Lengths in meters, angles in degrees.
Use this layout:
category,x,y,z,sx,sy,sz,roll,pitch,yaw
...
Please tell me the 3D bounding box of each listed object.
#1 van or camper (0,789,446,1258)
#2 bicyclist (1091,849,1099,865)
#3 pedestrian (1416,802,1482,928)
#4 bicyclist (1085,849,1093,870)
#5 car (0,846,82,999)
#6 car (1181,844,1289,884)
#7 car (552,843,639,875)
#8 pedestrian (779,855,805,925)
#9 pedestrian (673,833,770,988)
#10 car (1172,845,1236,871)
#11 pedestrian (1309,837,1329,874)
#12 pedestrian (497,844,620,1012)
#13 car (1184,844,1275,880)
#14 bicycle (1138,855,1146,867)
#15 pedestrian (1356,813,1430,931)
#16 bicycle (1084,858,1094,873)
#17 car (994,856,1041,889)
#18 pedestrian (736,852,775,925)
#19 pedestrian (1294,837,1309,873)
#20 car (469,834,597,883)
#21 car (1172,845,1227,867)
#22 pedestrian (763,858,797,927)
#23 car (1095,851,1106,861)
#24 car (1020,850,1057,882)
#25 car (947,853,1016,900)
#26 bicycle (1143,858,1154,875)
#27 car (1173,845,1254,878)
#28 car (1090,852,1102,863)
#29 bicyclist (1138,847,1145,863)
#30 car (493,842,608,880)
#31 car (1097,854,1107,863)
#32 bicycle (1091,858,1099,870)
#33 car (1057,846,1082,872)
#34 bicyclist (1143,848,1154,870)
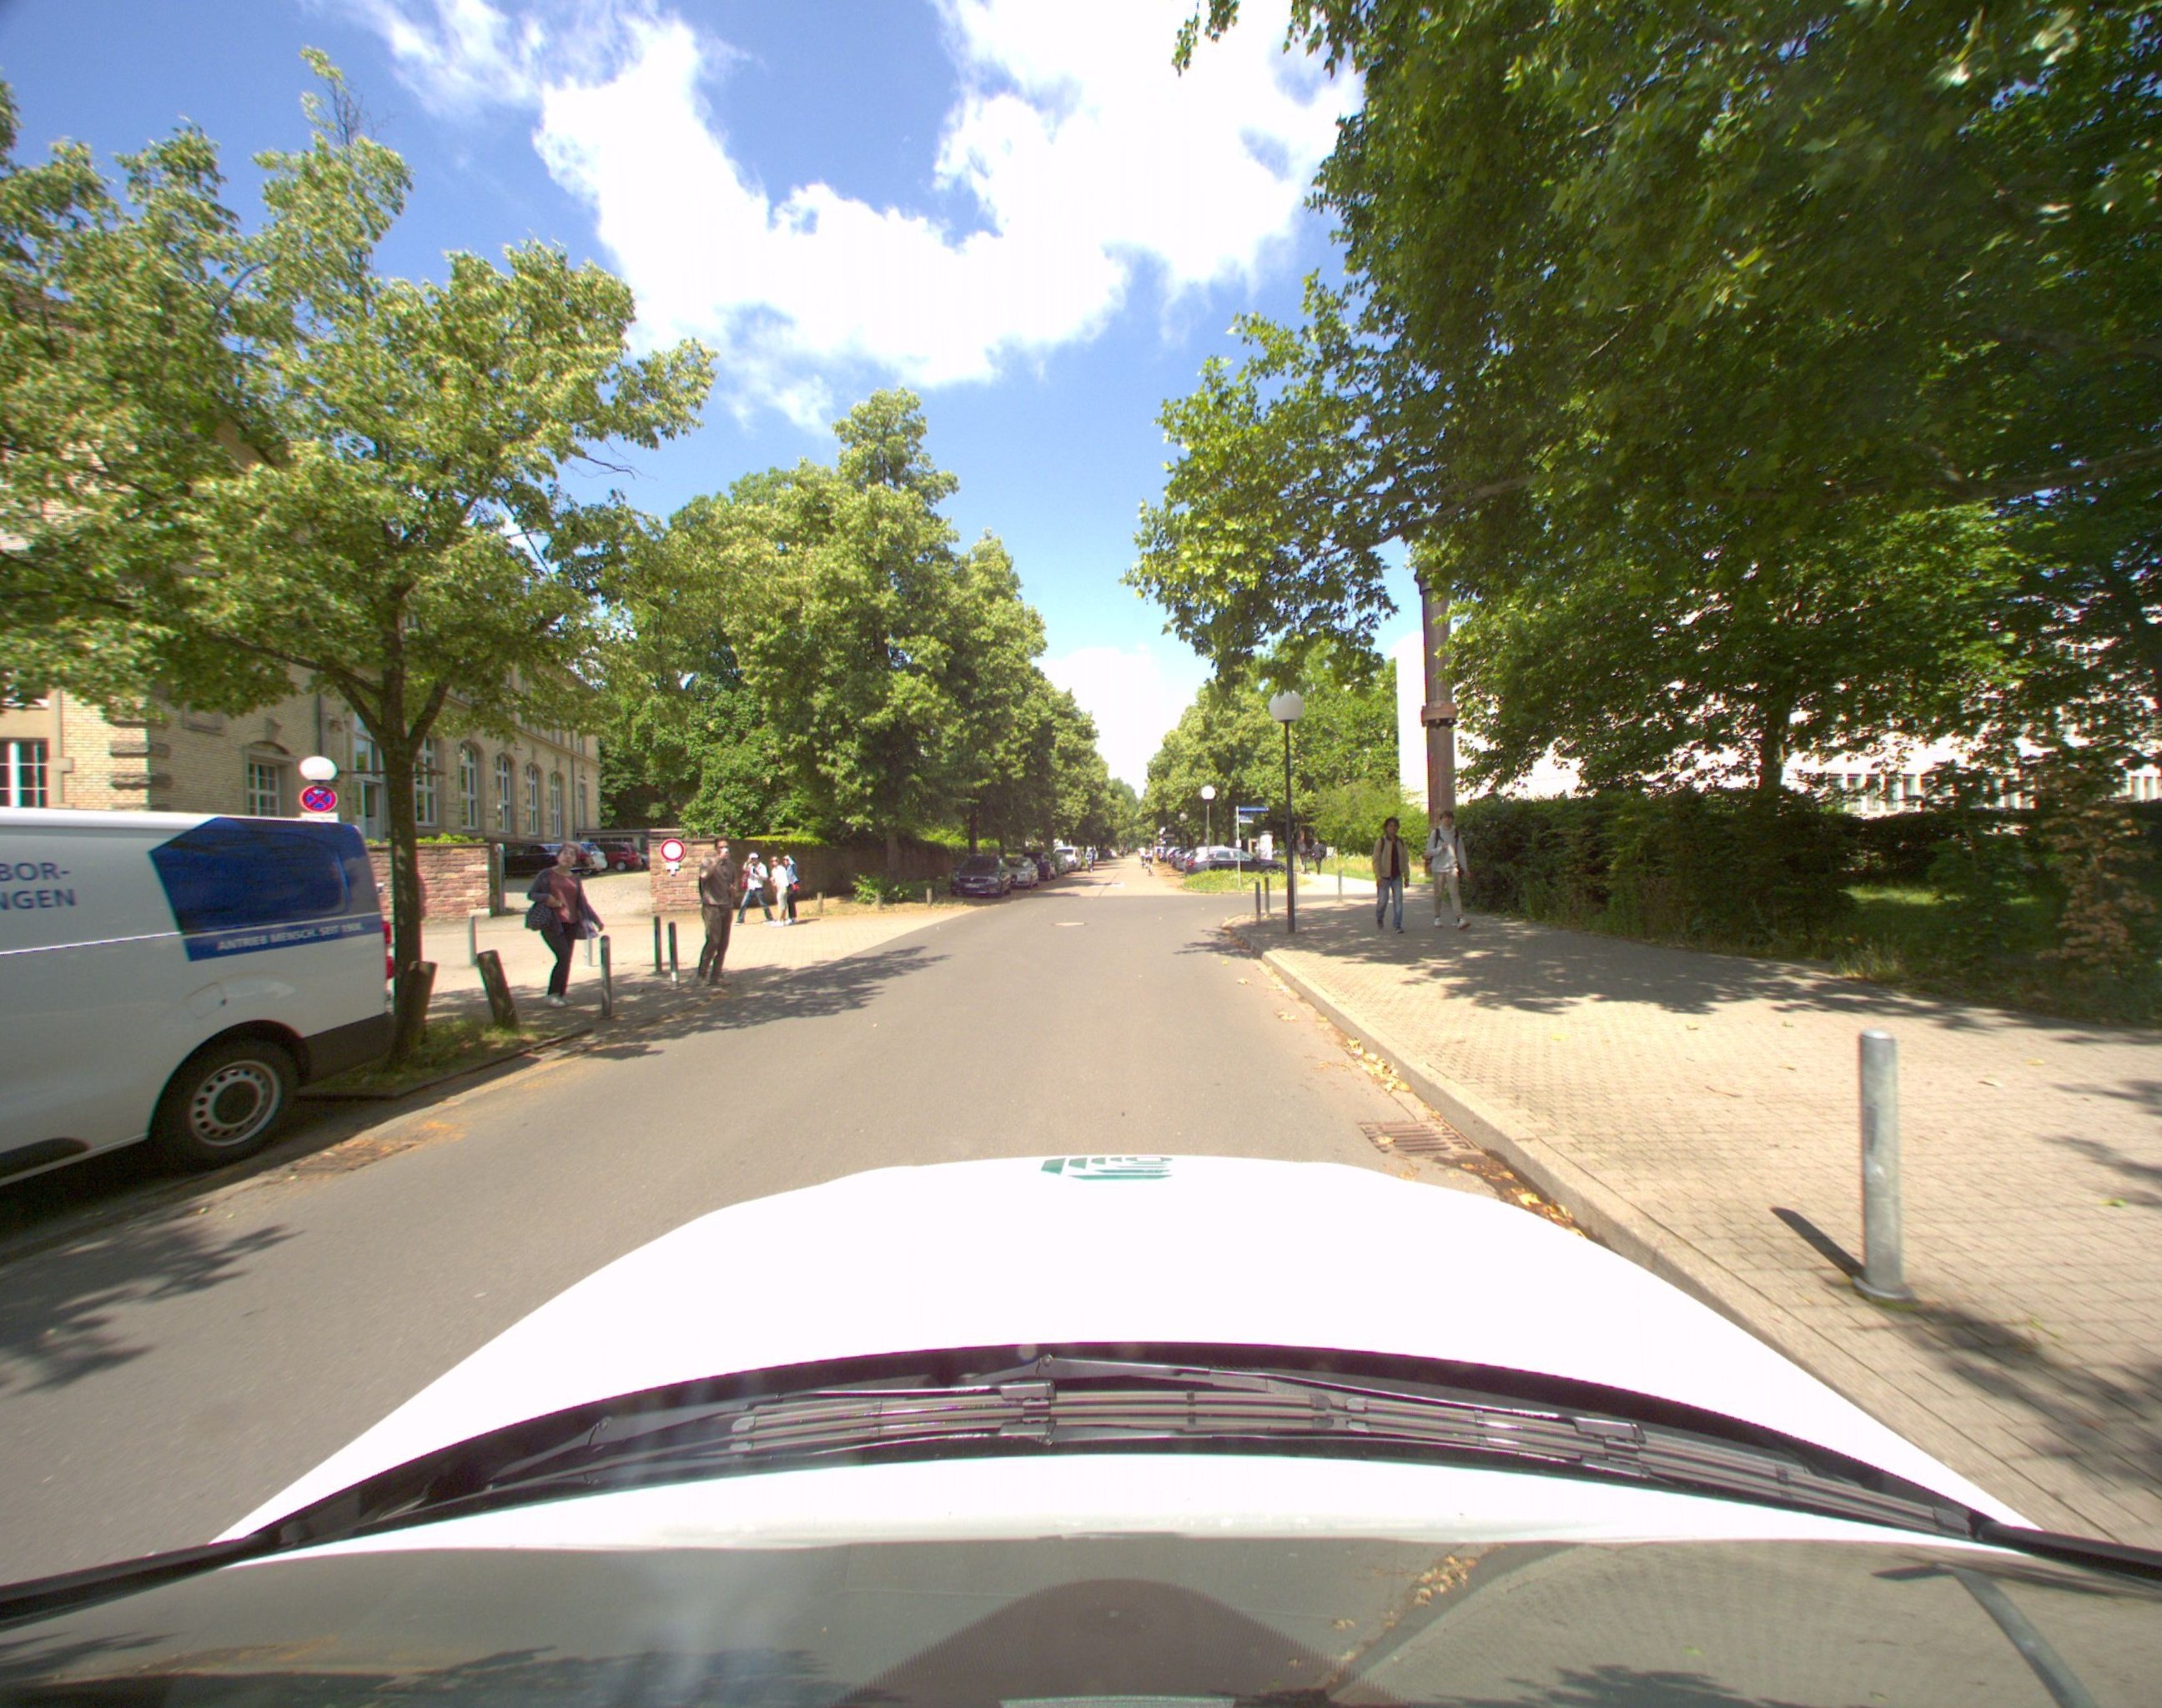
category,x,y,z,sx,sy,sz,roll,pitch,yaw
van or camper,-5.429,0.704,2.888,1.946,1.923,5.423,0,0,2
bicyclist,1.159,0.213,67.644,0.606,1.296,0.611,-1,0,2
pedestrian,5.695,0.166,12.642,0.668,1.872,0.793,-1,0,6
bicyclist,0.570,0.374,58.183,0.561,1.498,0.828,-1,0,3
car,-14.151,0.879,8.596,2.182,1.925,5.151,-1,0,-20
car,6.718,0.429,35.890,4.466,1.525,1.812,-2,0,3
car,-26.617,0.271,44.790,3.869,1.622,1.743,-1,0,-22
pedestrian,-6.770,0.832,19.068,0.497,1.585,0.489,-1,0,-28
pedestrian,-4.507,0.678,10.231,0.718,1.857,0.795,-2,0,20
car,8.550,0.278,57.018,4.238,1.588,1.922,-2,0,3
pedestrian,11.526,0.057,39.403,0.816,1.755,0.630,-1,0,9
pedestrian,-5.608,0.757,8.769,0.734,1.712,0.795,-2,0,17
car,7.371,0.398,40.772,4.238,1.588,1.812,-2,0,3
bicycle,5.025,0.570,67.138,0.611,1.001,1.424,-2,0,3
pedestrian,4.825,0.267,12.647,0.818,1.755,0.841,-1,0,3
bicycle,0.581,0.830,58.210,0.575,1.001,1.424,-1,0,3
car,-2.859,0.813,37.162,1.609,1.387,4.003,-1,0,3
pedestrian,-7.621,0.785,19.065,0.596,1.663,0.632,-2,0,44
pedestrian,10.779,0.057,39.785,0.598,1.755,0.630,-1,0,9
car,-22.341,0.159,33.316,4.188,1.823,1.978,-2,0,-35
car,9.558,0.136,65.851,4.238,1.588,1.922,-2,0,3
pedestrian,-6.785,0.855,18.357,0.588,1.527,0.488,-1,0,-38
car,2.899,0.297,119.336,1.609,1.365,4.564,-1,0,2
car,-2.343,0.663,45.843,1.609,1.679,4.003,-1,0,3
car,-3.528,0.754,29.541,1.752,1.522,4.114,-1,0,3
bicycle,4.057,0.766,49.068,0.611,1.001,1.424,-1,0,3
car,7.348,0.405,45.530,4.238,1.588,1.812,-2,0,3
car,2.050,0.463,109.529,1.609,1.365,4.002,-1,0,2
bicyclist,5.001,0.050,67.165,0.520,1.296,0.611,-1,0,2
car,-23.280,0.286,35.800,4.119,1.517,1.737,-2,0,-35
car,3.433,0.661,132.481,1.609,1.365,4.002,-1,0,2
bicycle,1.171,0.828,67.606,0.611,1.001,1.424,-1,0,3
car,-0.835,0.364,61.117,1.609,1.815,4.003,-1,0,3
bicyclist,4.041,0.306,48.958,0.607,1.296,0.611,-1,0,2
